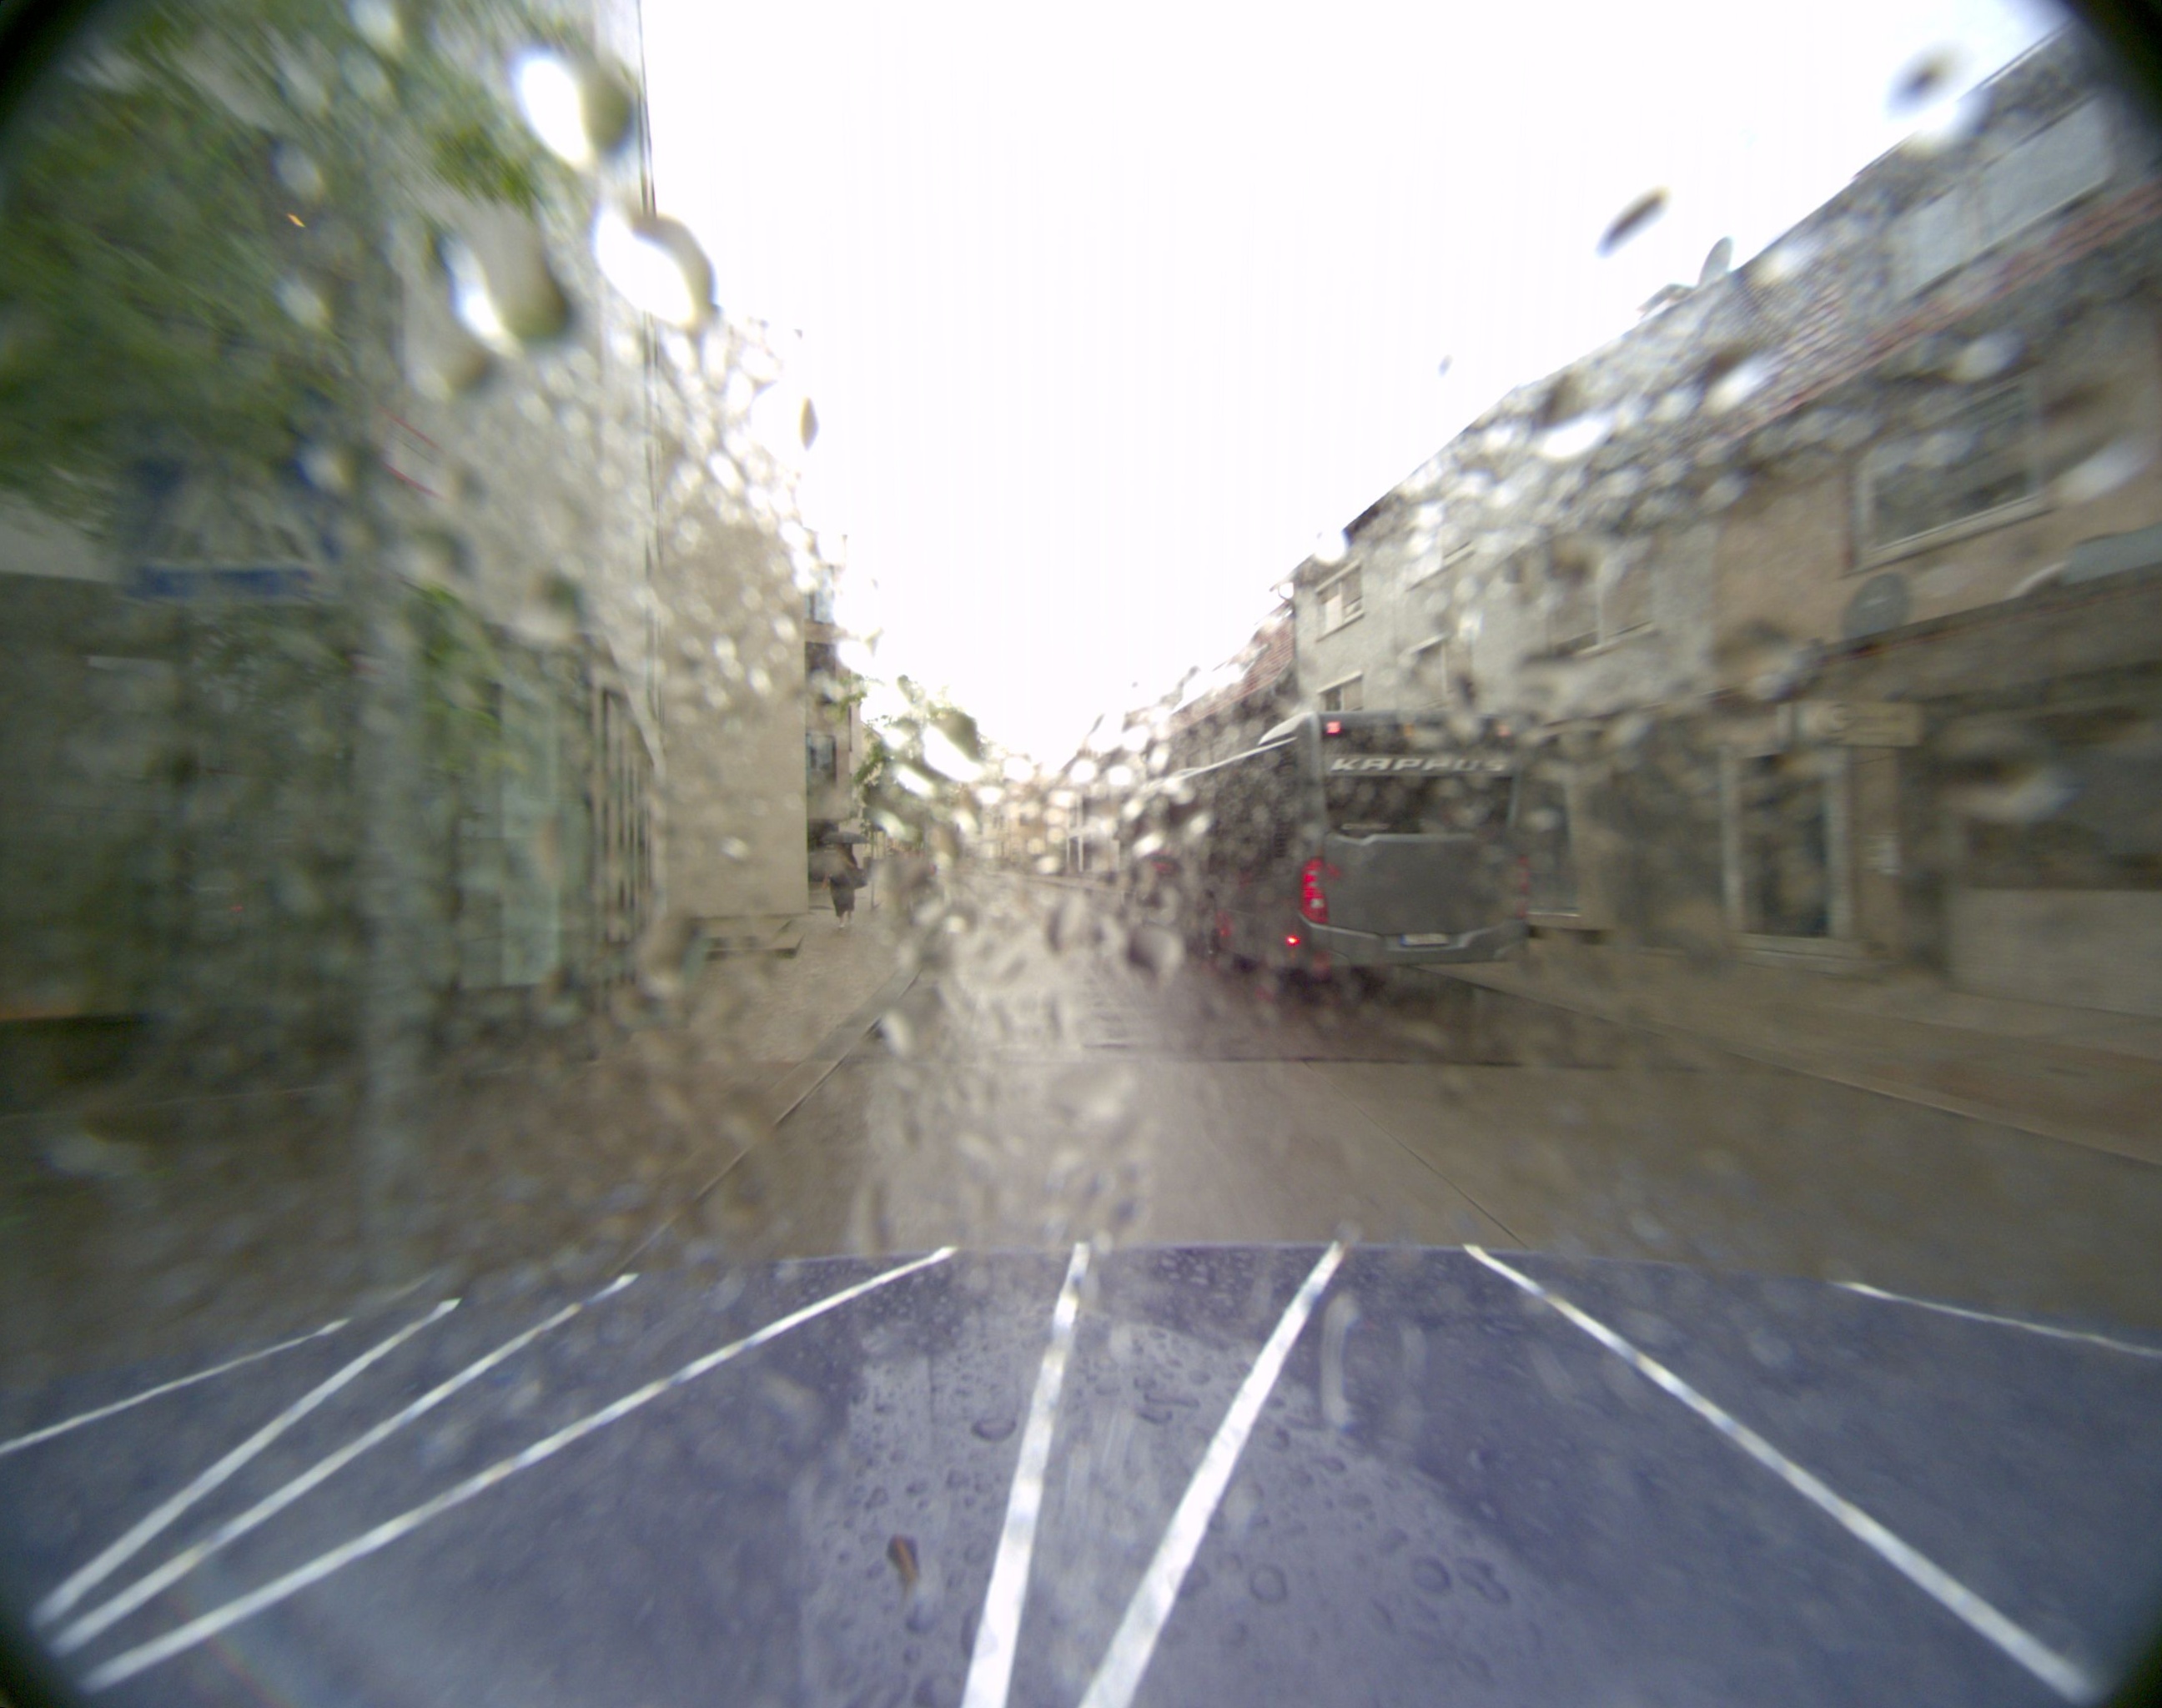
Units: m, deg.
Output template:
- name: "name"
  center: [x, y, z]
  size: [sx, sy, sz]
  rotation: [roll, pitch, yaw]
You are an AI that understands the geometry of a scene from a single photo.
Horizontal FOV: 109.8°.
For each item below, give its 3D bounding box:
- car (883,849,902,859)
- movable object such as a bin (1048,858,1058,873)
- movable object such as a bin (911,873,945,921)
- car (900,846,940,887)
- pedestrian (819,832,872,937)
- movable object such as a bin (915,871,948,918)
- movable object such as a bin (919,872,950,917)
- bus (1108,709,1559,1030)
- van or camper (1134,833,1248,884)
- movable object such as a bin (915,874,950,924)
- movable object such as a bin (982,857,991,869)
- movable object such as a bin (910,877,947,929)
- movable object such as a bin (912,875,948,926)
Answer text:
- name: "car"
  center: [-28.523, 0.018, 114.939]
  size: [2.003, 1.437, 3.991]
  rotation: [-2, 2, -26]
- name: "movable object such as a bin"
  center: [-2.116, 0.849, 57.810]
  size: [0.660, 1.102, 0.720]
  rotation: [2, 1, -10]
- name: "movable object such as a bin"
  center: [-3.795, 1.061, 18.906]
  size: [0.754, 1.164, 0.630]
  rotation: [0, 1, -4]
- name: "car"
  center: [-8.021, 0.563, 38.018]
  size: [1.842, 1.896, 4.598]
  rotation: [1, 1, -11]
- name: "pedestrian"
  center: [-4.682, 0.571, 15.171]
  size: [0.870, 2.002, 1.081]
  rotation: [-2, 2, -12]
- name: "movable object such as a bin"
  center: [-3.844, 1.029, 19.570]
  size: [0.754, 1.164, 0.630]
  rotation: [0, 1, -4]
- name: "movable object such as a bin"
  center: [-3.893, 1.065, 20.228]
  size: [0.754, 1.164, 0.630]
  rotation: [0, 1, -4]
- name: "bus"
  center: [2.722, 0.112, 12.856]
  size: [2.732, 3.062, 10.938]
  rotation: [-2, 0, -7]
- name: "van or camper"
  center: [5.394, 0.184, 37.535]
  size: [5.041, 1.923, 1.997]
  rotation: [-6, 2, -12]
- name: "movable object such as a bin"
  center: [-3.518, 1.056, 18.059]
  size: [0.764, 1.111, 0.623]
  rotation: [-1, 1, -7]
- name: "movable object such as a bin"
  center: [-8.694, 0.838, 70.214]
  size: [0.716, 1.053, 0.575]
  rotation: [-2, 2, -17]
- name: "movable object such as a bin"
  center: [-3.380, 1.078, 16.868]
  size: [0.726, 1.111, 0.576]
  rotation: [-1, 1, -7]
- name: "movable object such as a bin"
  center: [-3.461, 1.067, 17.448]
  size: [0.726, 1.111, 0.576]
  rotation: [-1, 1, -7]
